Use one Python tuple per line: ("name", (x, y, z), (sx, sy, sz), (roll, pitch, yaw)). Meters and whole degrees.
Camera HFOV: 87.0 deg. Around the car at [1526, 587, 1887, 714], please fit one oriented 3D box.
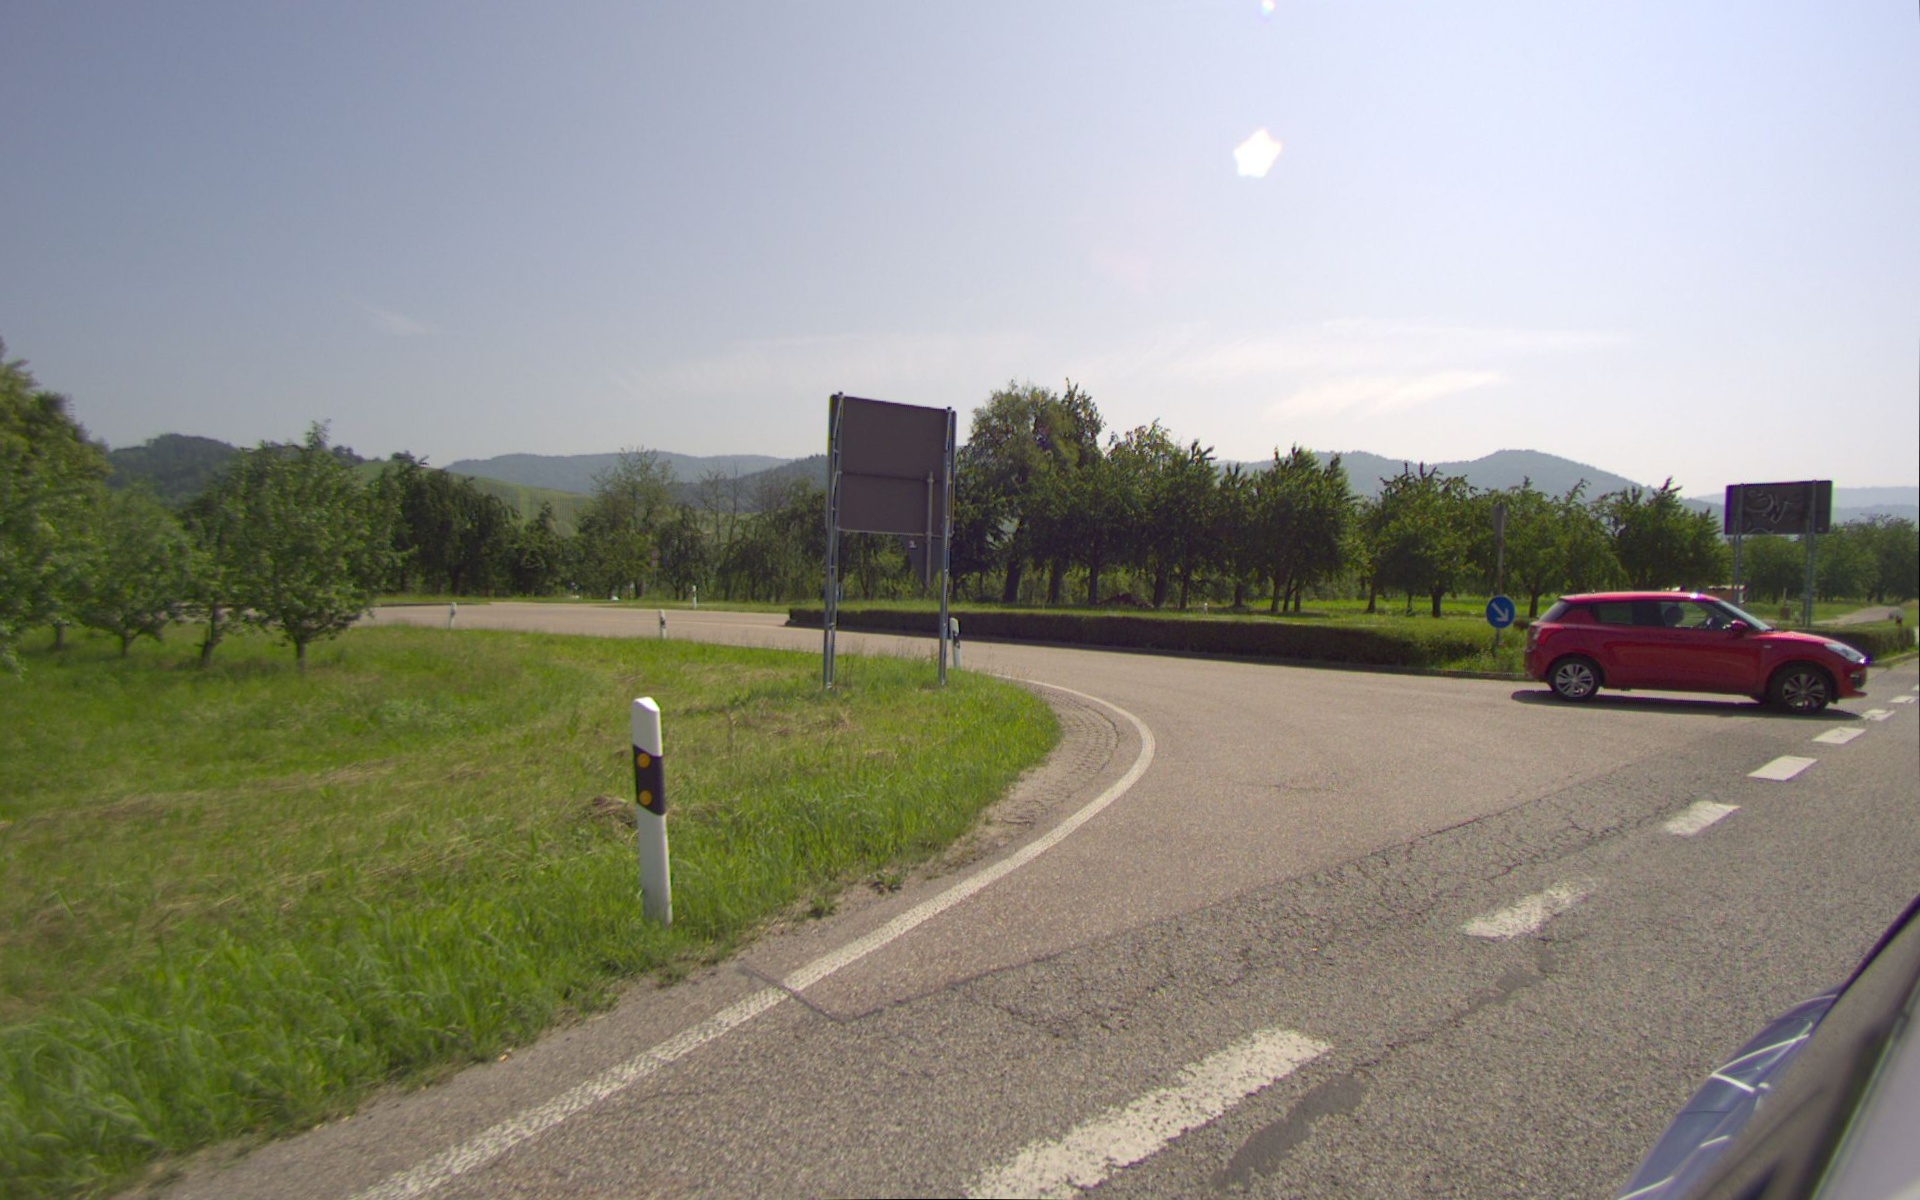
("car", (9.889, 0.590, 13.798), (3.717, 1.511, 1.655), (1, 0, 28))
